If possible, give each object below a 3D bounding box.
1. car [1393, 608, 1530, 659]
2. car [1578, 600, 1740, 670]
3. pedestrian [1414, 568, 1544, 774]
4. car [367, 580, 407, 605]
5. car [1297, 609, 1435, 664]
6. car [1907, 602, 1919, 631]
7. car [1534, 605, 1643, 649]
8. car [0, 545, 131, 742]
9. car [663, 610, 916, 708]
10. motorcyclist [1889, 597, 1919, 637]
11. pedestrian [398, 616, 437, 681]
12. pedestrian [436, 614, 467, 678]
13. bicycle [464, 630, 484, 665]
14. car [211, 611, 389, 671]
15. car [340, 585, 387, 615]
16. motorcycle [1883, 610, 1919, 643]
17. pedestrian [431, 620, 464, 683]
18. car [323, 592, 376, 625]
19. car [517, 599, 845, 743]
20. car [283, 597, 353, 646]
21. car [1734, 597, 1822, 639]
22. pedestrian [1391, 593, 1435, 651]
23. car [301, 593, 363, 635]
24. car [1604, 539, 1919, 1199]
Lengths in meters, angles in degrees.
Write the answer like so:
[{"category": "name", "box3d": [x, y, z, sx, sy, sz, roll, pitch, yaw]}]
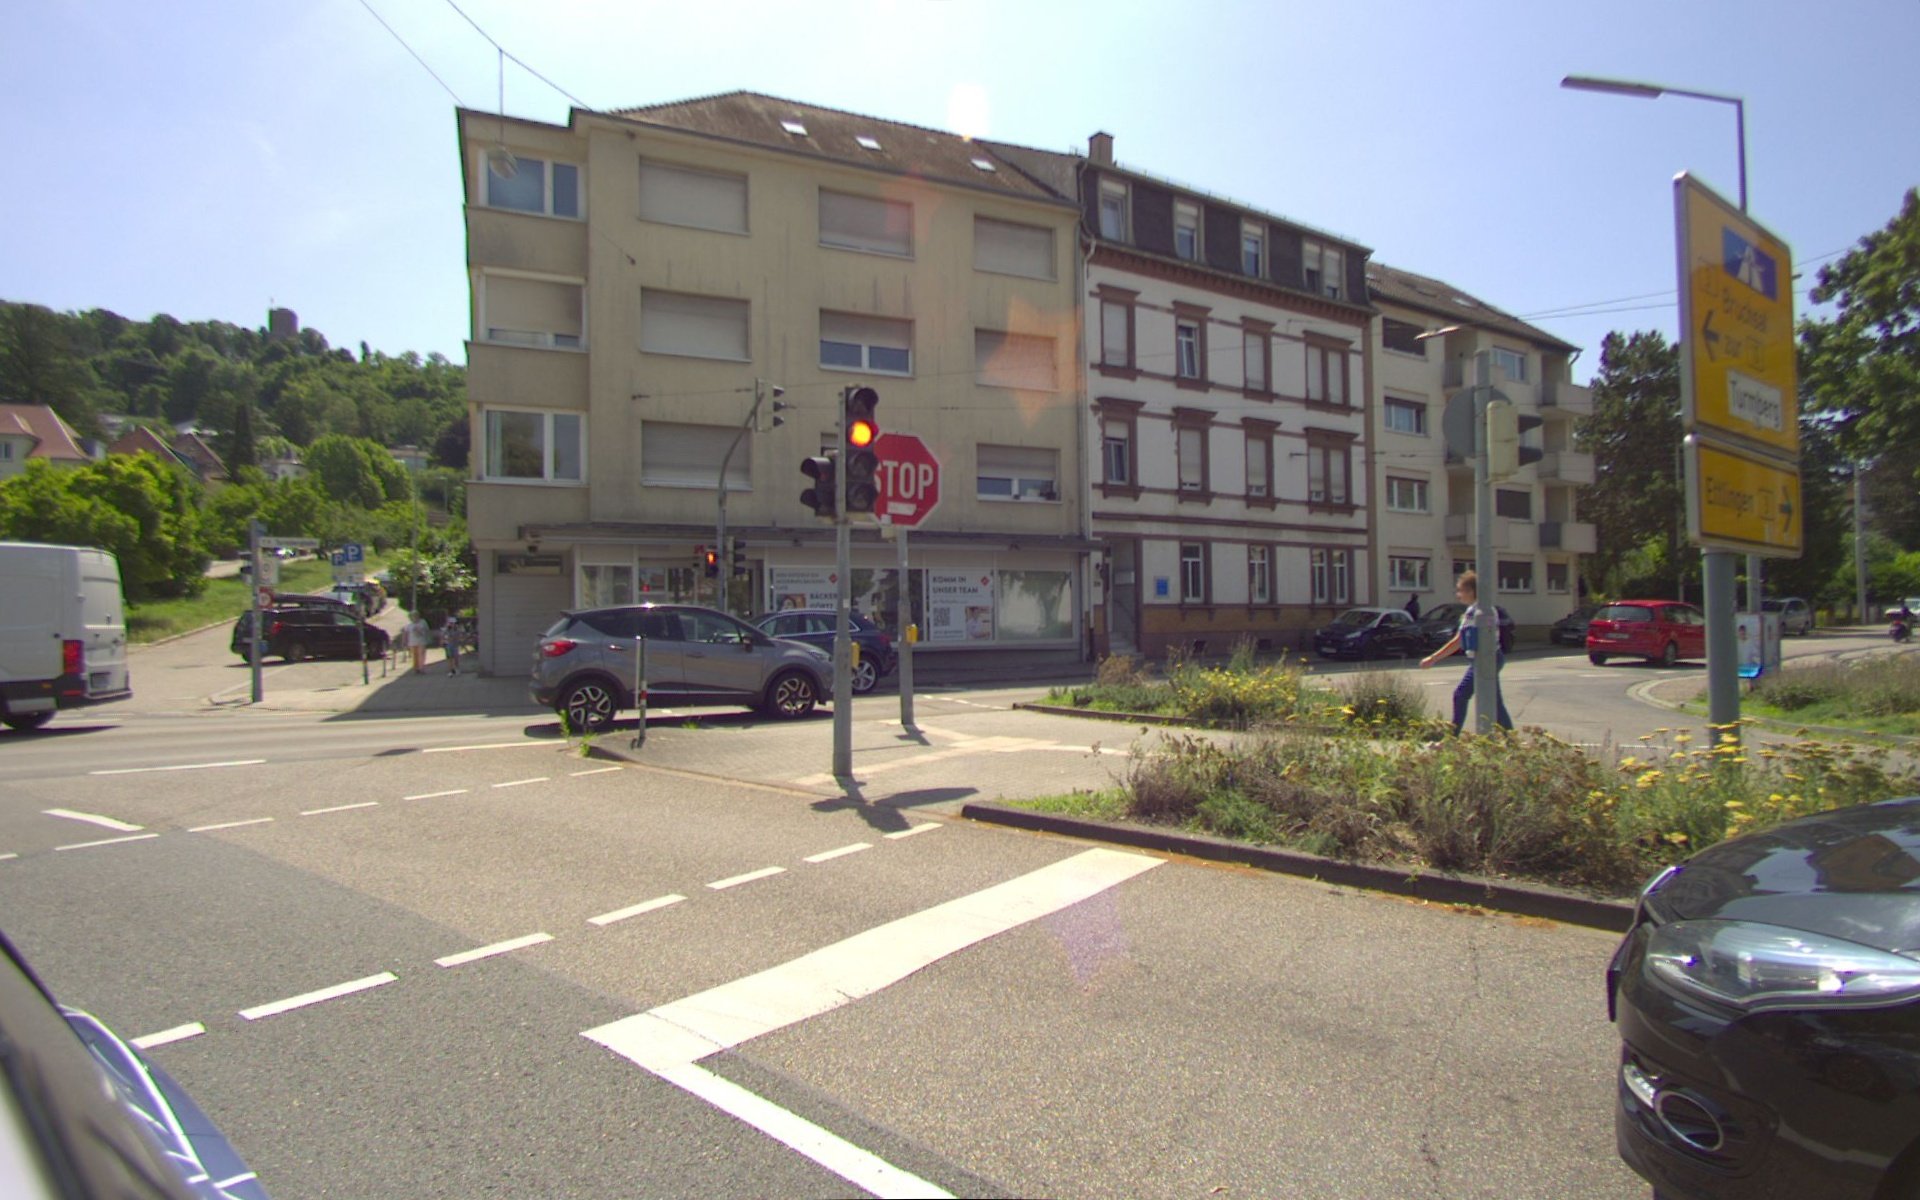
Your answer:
[{"category": "car", "box3d": [16.041, 1.037, 32.316, 4.308, 1.521, 2.005, 0, -2, -33]}, {"category": "car", "box3d": [17.270, 0.810, 24.979, 3.968, 1.569, 1.810, 0, -1, -31]}, {"category": "pedestrian", "box3d": [4.618, 0.600, 9.004, 0.837, 1.718, 0.752, -2, -2, 41]}, {"category": "car", "box3d": [-35.283, -0.484, 62.383, 1.826, 1.431, 4.014, 0, 3, -25]}, {"category": "car", "box3d": [12.080, 1.040, 30.066, 3.934, 1.530, 2.005, 1, -1, -35]}, {"category": "car", "box3d": [56.036, 0.951, 57.680, 3.968, 1.569, 1.811, 0, 2, -29]}, {"category": "car", "box3d": [23.234, 0.975, 37.363, 3.933, 1.521, 2.005, 0, -2, -35]}, {"category": "car", "box3d": [-15.438, 0.610, 12.707, 7.423, 2.520, 2.230, 0, -2, -25]}, {"category": "car", "box3d": [-3.141, 1.050, 18.606, 4.211, 1.570, 1.864, -1, -3, -25]}, {"category": "motorcyclist", "box3d": [35.118, 0.629, 37.475, 1.001, 1.456, 0.715, 0, -1, -28]}, {"category": "pedestrian", "box3d": [-14.123, 1.244, 26.356, 0.808, 1.645, 0.807, 0, -1, -21]}, {"category": "pedestrian", "box3d": [-13.268, 1.186, 26.413, 0.637, 1.645, 0.690, 0, -1, -21]}, {"category": "bicycle", "box3d": [-15.194, 1.464, 31.653, 0.490, 1.034, 1.749, -1, -1, -23]}, {"category": "car", "box3d": [-19.764, 1.199, 30.544, 1.982, 1.676, 4.307, -1, -1, 15]}, {"category": "car", "box3d": [-31.710, -0.025, 53.897, 1.778, 1.431, 4.014, 0, 3, -25]}, {"category": "motorcycle", "box3d": [35.138, 0.973, 37.481, 2.159, 1.142, 0.715, -1, -1, -28]}, {"category": "pedestrian", "box3d": [-12.526, 1.250, 24.752, 0.637, 1.487, 0.690, 0, -1, -21]}, {"category": "car", "box3d": [-29.188, 0.373, 48.479, 1.778, 1.398, 4.014, 0, 3, -25]}, {"category": "car", "box3d": [-3.707, 0.841, 13.485, 3.931, 1.644, 1.765, -1, -1, -26]}, {"category": "car", "box3d": [-24.794, 0.796, 39.227, 1.778, 1.628, 4.014, 0, 3, -25]}, {"category": "car", "box3d": [37.021, 0.776, 45.799, 3.968, 1.730, 1.810, 0, 2, -31]}, {"category": "pedestrian", "box3d": [15.502, 0.765, 34.639, 0.960, 1.946, 0.940, 0, -2, -34]}, {"category": "car", "box3d": [-27.134, 0.569, 43.827, 1.778, 1.562, 4.014, 0, 3, -25]}, {"category": "car", "box3d": [3.589, 0.613, 1.280, 4.423, 1.511, 1.973, -2, -1, 41]}]
